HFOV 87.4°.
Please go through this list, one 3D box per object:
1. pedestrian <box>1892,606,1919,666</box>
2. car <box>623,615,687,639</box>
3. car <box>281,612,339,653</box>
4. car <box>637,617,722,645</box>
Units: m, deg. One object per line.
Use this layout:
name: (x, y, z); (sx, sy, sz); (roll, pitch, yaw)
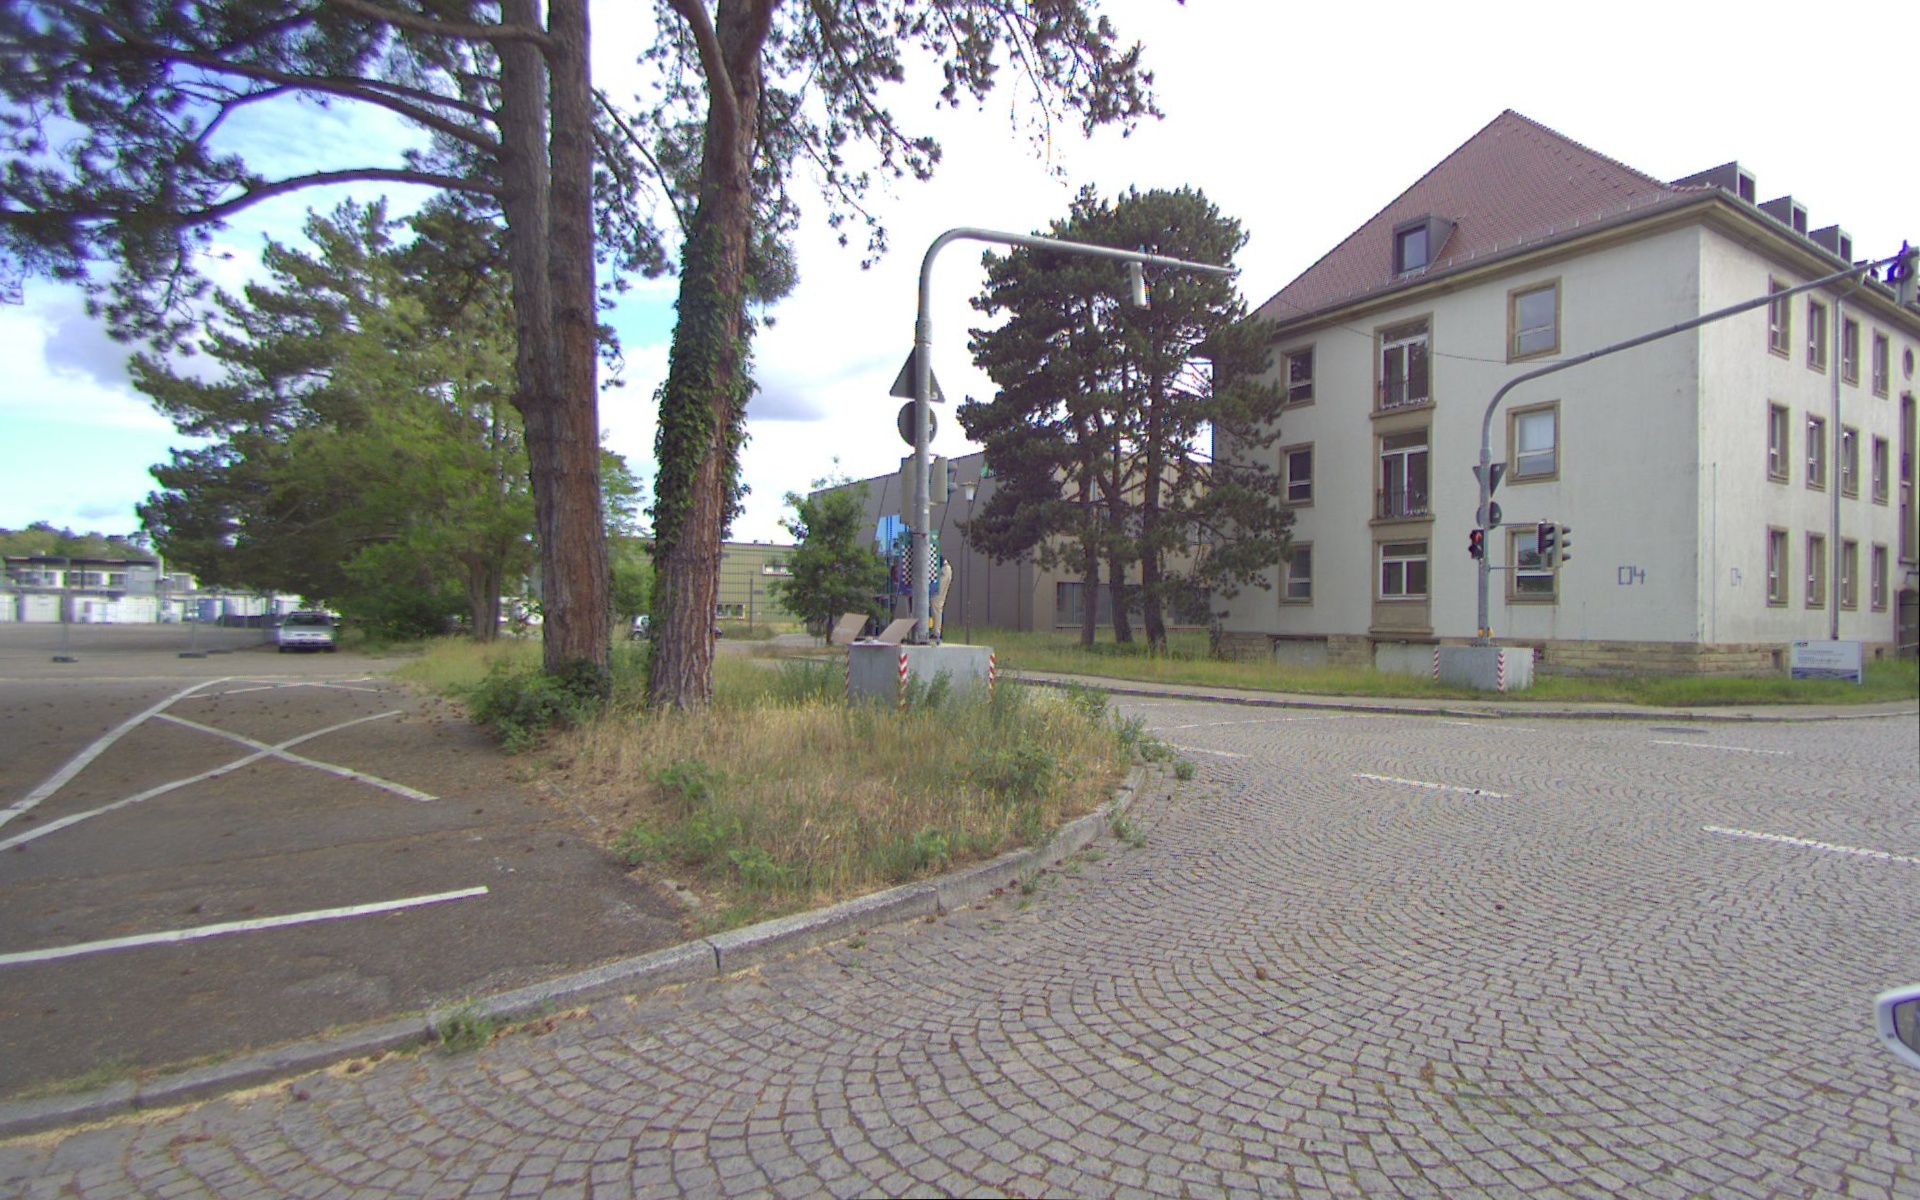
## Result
pedestrian: (33.183, 1.254, 34.773); (1.009, 2.040, 1.083); (1, -1, -27)
car: (-19.886, 1.748, 65.417); (3.618, 1.449, 1.983); (-1, 0, -32)
car: (-23.649, 1.156, 36.503); (1.680, 1.410, 3.962); (1, -1, -34)
car: (-16.417, 1.799, 58.860); (4.409, 1.449, 1.983); (-1, 0, -32)
